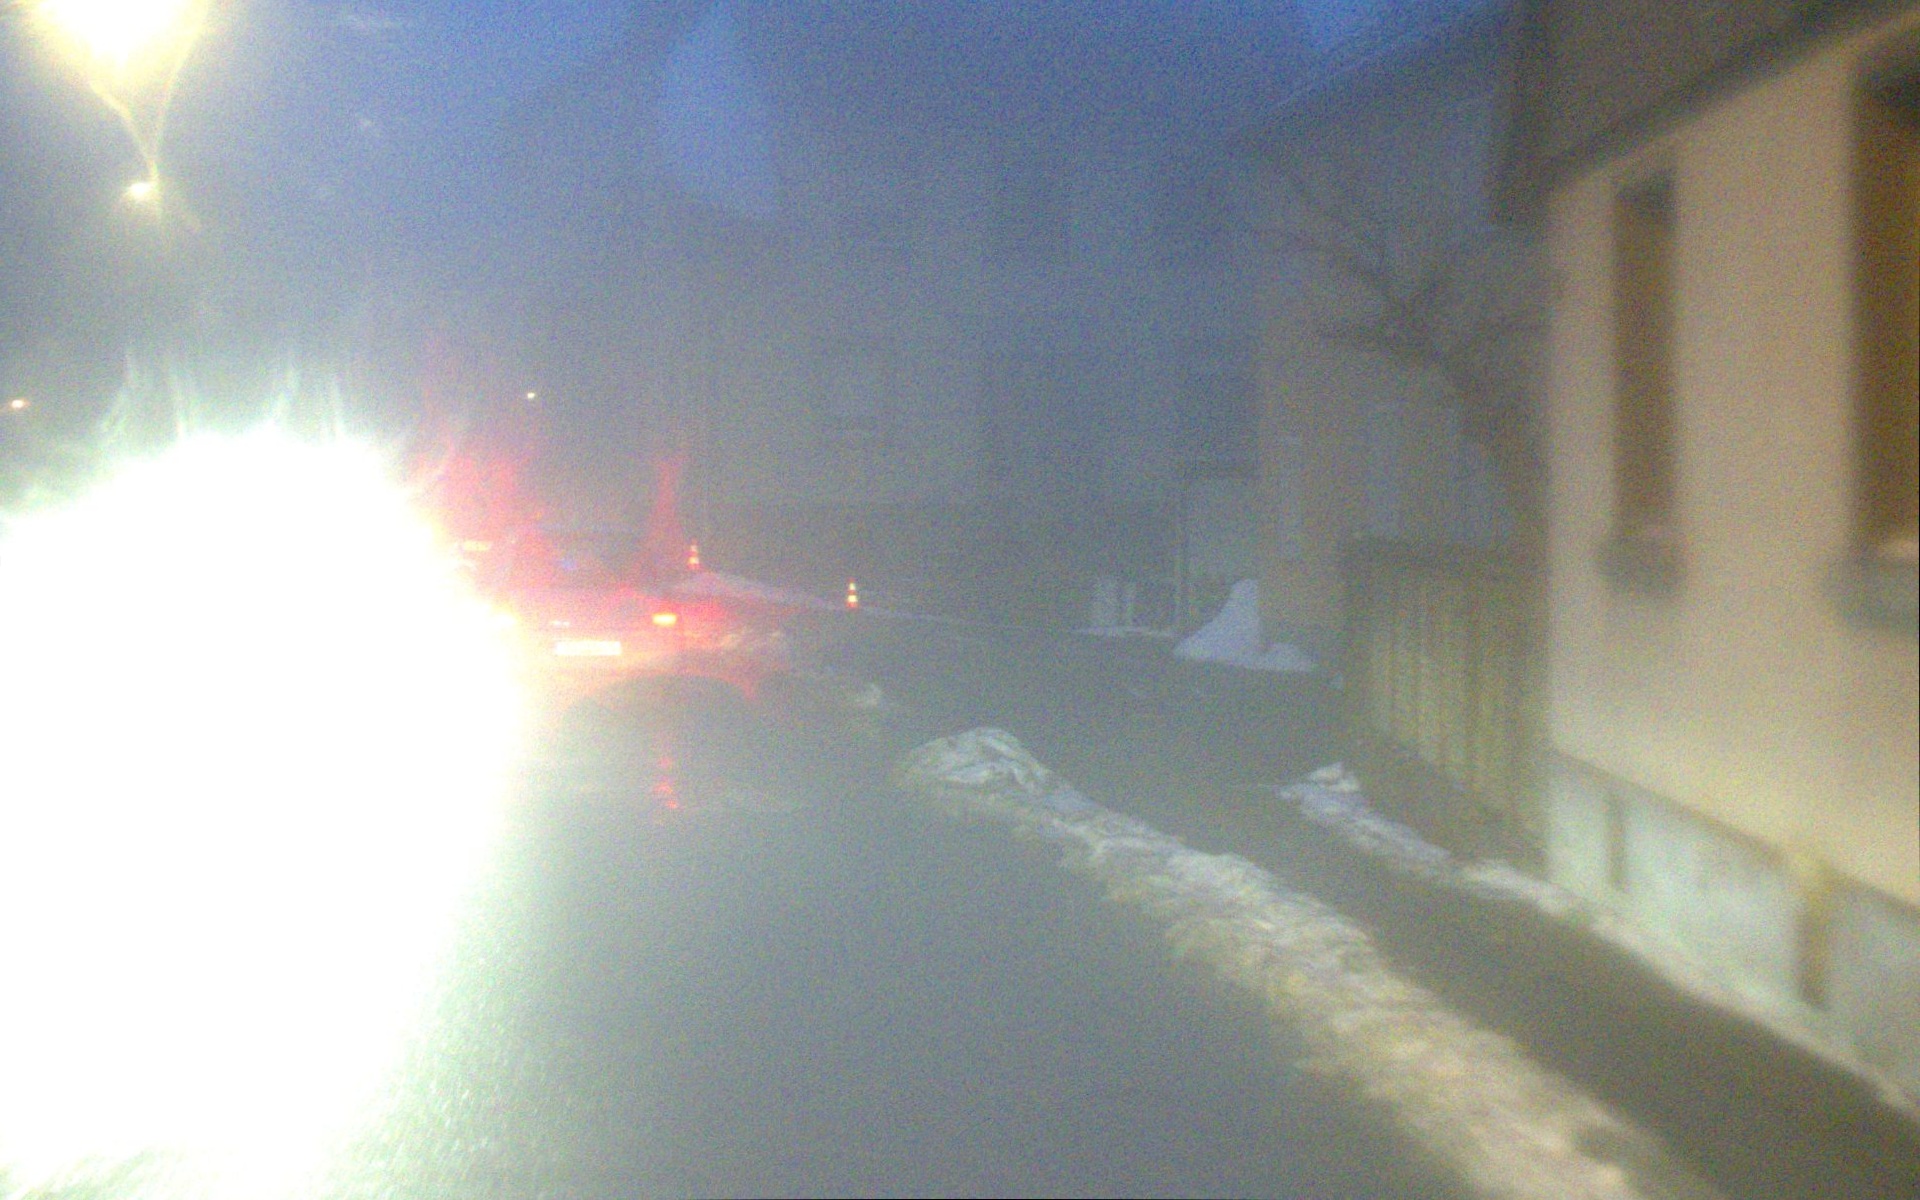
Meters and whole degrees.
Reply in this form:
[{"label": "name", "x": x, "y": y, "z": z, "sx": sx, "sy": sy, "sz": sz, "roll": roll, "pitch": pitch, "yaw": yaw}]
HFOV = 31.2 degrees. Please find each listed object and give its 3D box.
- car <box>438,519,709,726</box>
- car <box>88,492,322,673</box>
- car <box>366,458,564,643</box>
[{"label": "car", "x": -3.271, "y": 0.182, "z": 28.460, "sx": 1.993, "sy": 1.503, "sz": 4.001, "roll": 3, "pitch": -1, "yaw": -9}, {"label": "car", "x": -7.431, "y": -0.131, "z": 34.203, "sx": 1.840, "sy": 1.682, "sz": 4.478, "roll": 0, "pitch": -1, "yaw": -7}, {"label": "car", "x": -5.877, "y": -0.552, "z": 41.229, "sx": 1.993, "sy": 2.007, "sz": 4.000, "roll": 3, "pitch": -1, "yaw": -4}]
